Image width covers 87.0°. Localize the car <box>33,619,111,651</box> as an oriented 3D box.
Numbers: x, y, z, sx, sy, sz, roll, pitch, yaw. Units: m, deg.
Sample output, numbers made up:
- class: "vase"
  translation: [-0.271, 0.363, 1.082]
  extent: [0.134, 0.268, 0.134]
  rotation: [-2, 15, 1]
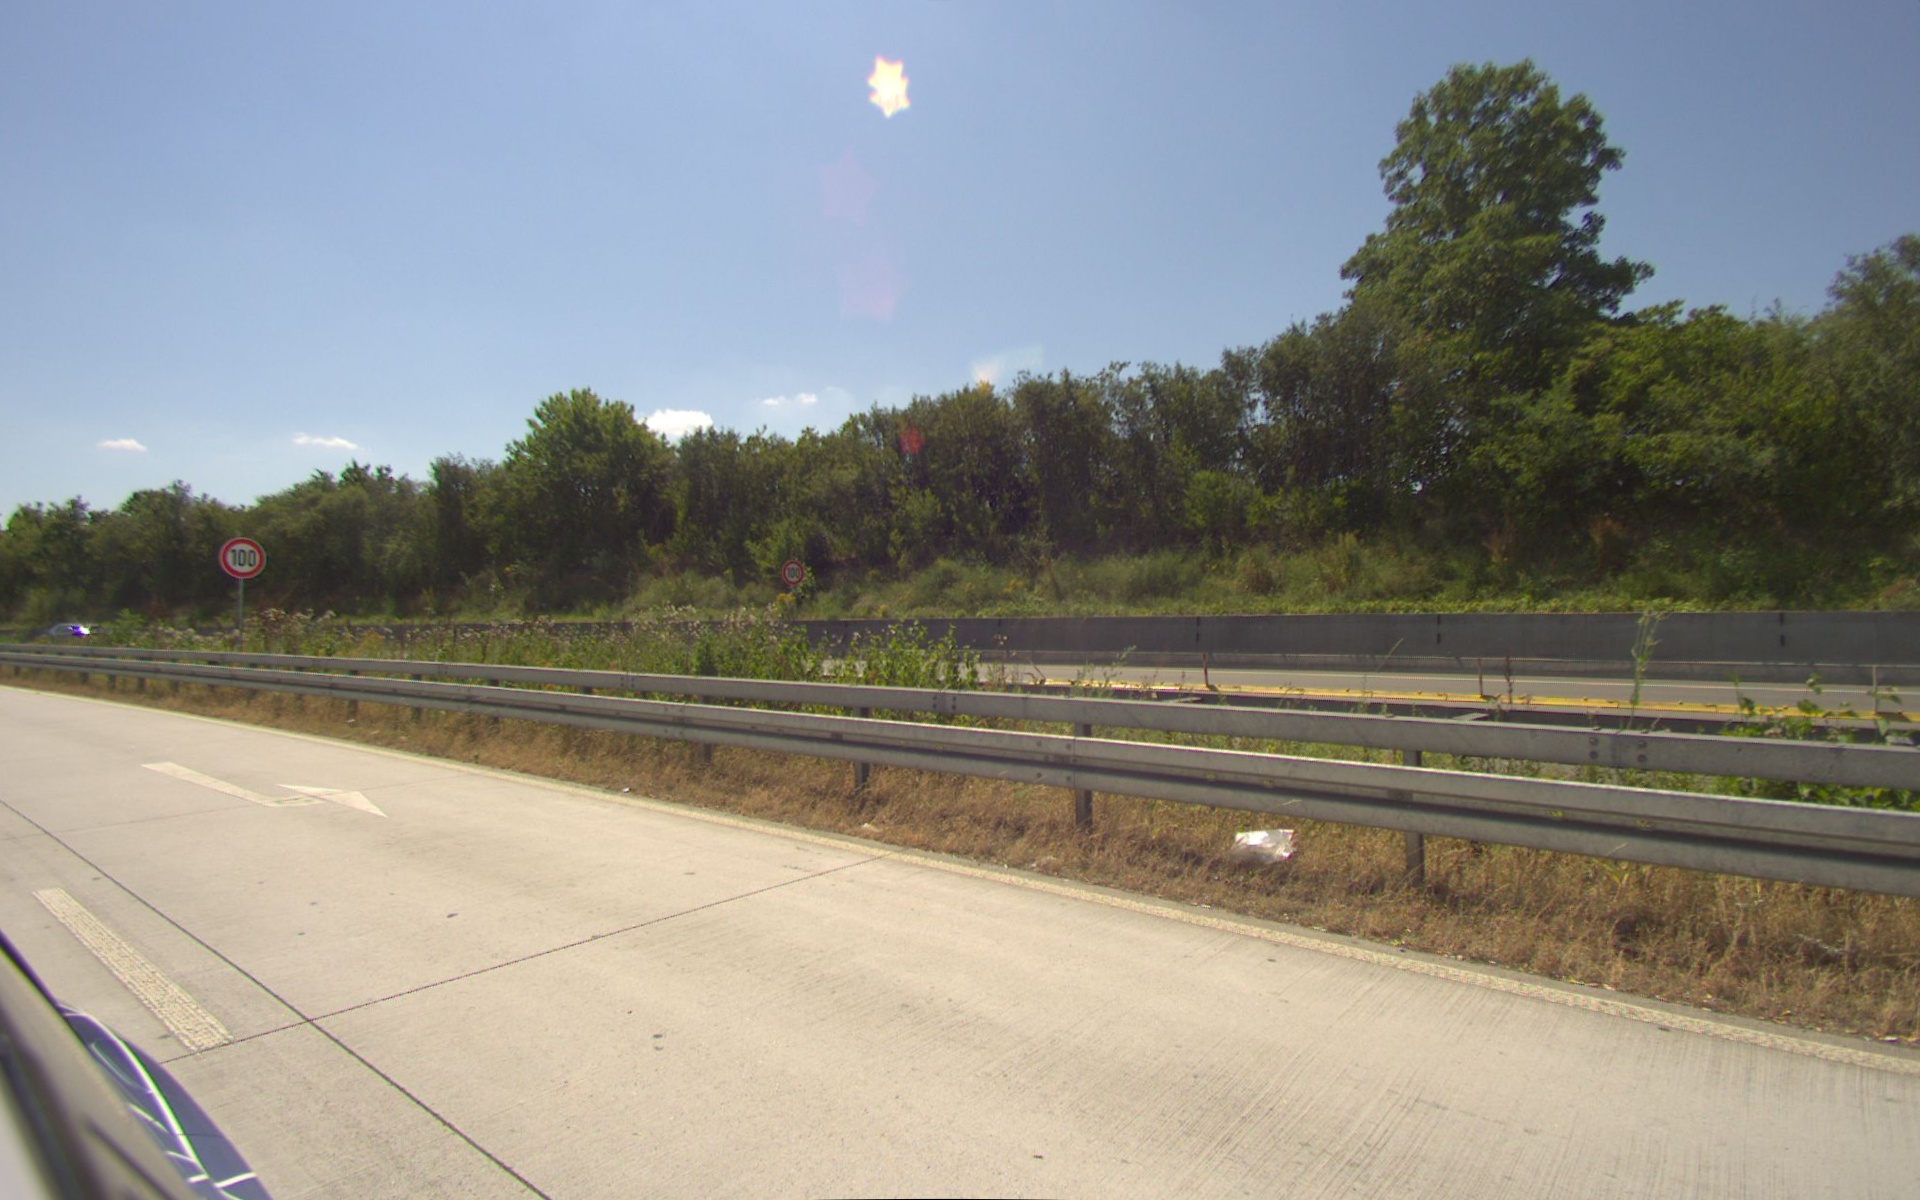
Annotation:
- class: "car"
  translation: [-43.569, 1.670, 49.619]
  extent: [4.592, 1.458, 1.856]
  rotation: [-1, 0, 35]
